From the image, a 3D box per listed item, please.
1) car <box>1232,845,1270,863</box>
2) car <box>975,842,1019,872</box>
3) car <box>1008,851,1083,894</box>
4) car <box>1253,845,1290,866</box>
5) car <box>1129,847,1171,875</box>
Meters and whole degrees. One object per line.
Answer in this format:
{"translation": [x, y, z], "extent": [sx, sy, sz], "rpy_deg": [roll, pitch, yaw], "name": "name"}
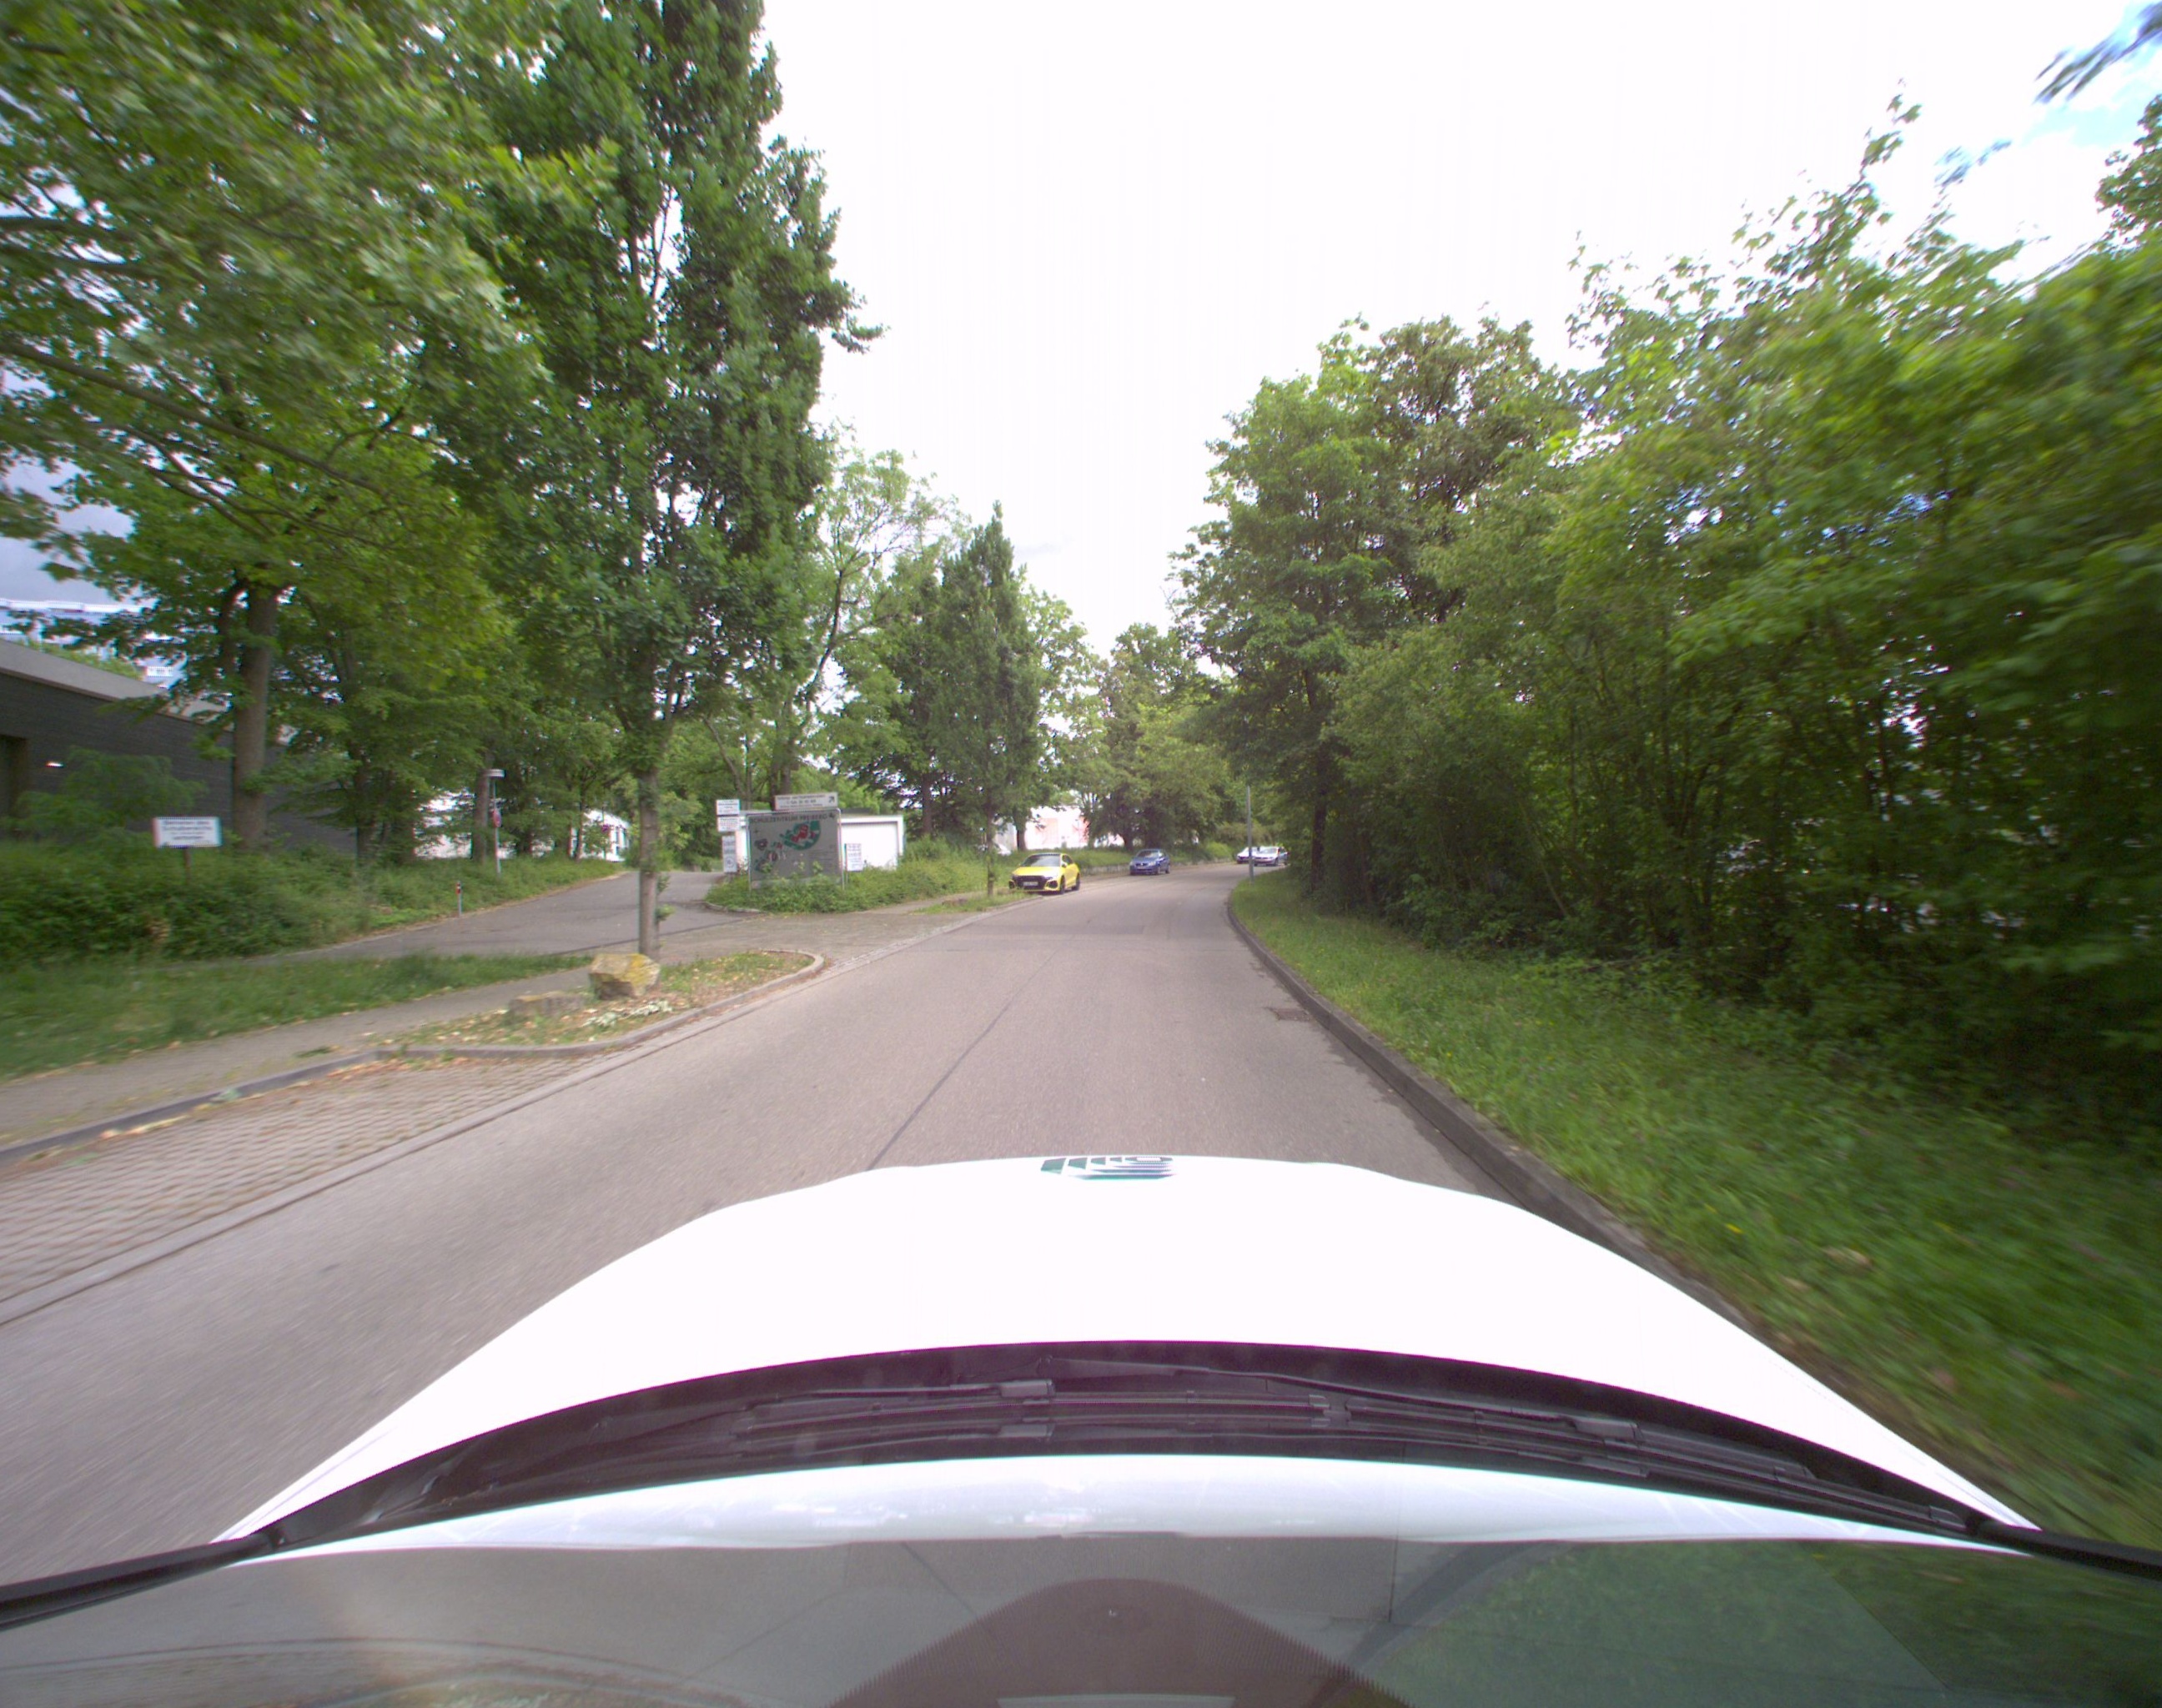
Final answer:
{"translation": [14.048, -0.032, 67.037], "extent": [1.796, 1.424, 4.388], "rpy_deg": [-1, 0, 30], "name": "car"}
{"translation": [-5.122, 0.184, 49.142], "extent": [1.746, 1.622, 3.848], "rpy_deg": [-3, 1, -19], "name": "car"}
{"translation": [-1.184, 0.623, 29.138], "extent": [1.689, 1.403, 4.286], "rpy_deg": [-1, 0, 11], "name": "car"}
{"translation": [14.543, 0.090, 62.015], "extent": [1.660, 1.462, 4.086], "rpy_deg": [0, 1, 29], "name": "car"}
{"translation": [3.981, 0.356, 46.507], "extent": [1.521, 1.459, 3.738], "rpy_deg": [-2, 0, 19], "name": "car"}
